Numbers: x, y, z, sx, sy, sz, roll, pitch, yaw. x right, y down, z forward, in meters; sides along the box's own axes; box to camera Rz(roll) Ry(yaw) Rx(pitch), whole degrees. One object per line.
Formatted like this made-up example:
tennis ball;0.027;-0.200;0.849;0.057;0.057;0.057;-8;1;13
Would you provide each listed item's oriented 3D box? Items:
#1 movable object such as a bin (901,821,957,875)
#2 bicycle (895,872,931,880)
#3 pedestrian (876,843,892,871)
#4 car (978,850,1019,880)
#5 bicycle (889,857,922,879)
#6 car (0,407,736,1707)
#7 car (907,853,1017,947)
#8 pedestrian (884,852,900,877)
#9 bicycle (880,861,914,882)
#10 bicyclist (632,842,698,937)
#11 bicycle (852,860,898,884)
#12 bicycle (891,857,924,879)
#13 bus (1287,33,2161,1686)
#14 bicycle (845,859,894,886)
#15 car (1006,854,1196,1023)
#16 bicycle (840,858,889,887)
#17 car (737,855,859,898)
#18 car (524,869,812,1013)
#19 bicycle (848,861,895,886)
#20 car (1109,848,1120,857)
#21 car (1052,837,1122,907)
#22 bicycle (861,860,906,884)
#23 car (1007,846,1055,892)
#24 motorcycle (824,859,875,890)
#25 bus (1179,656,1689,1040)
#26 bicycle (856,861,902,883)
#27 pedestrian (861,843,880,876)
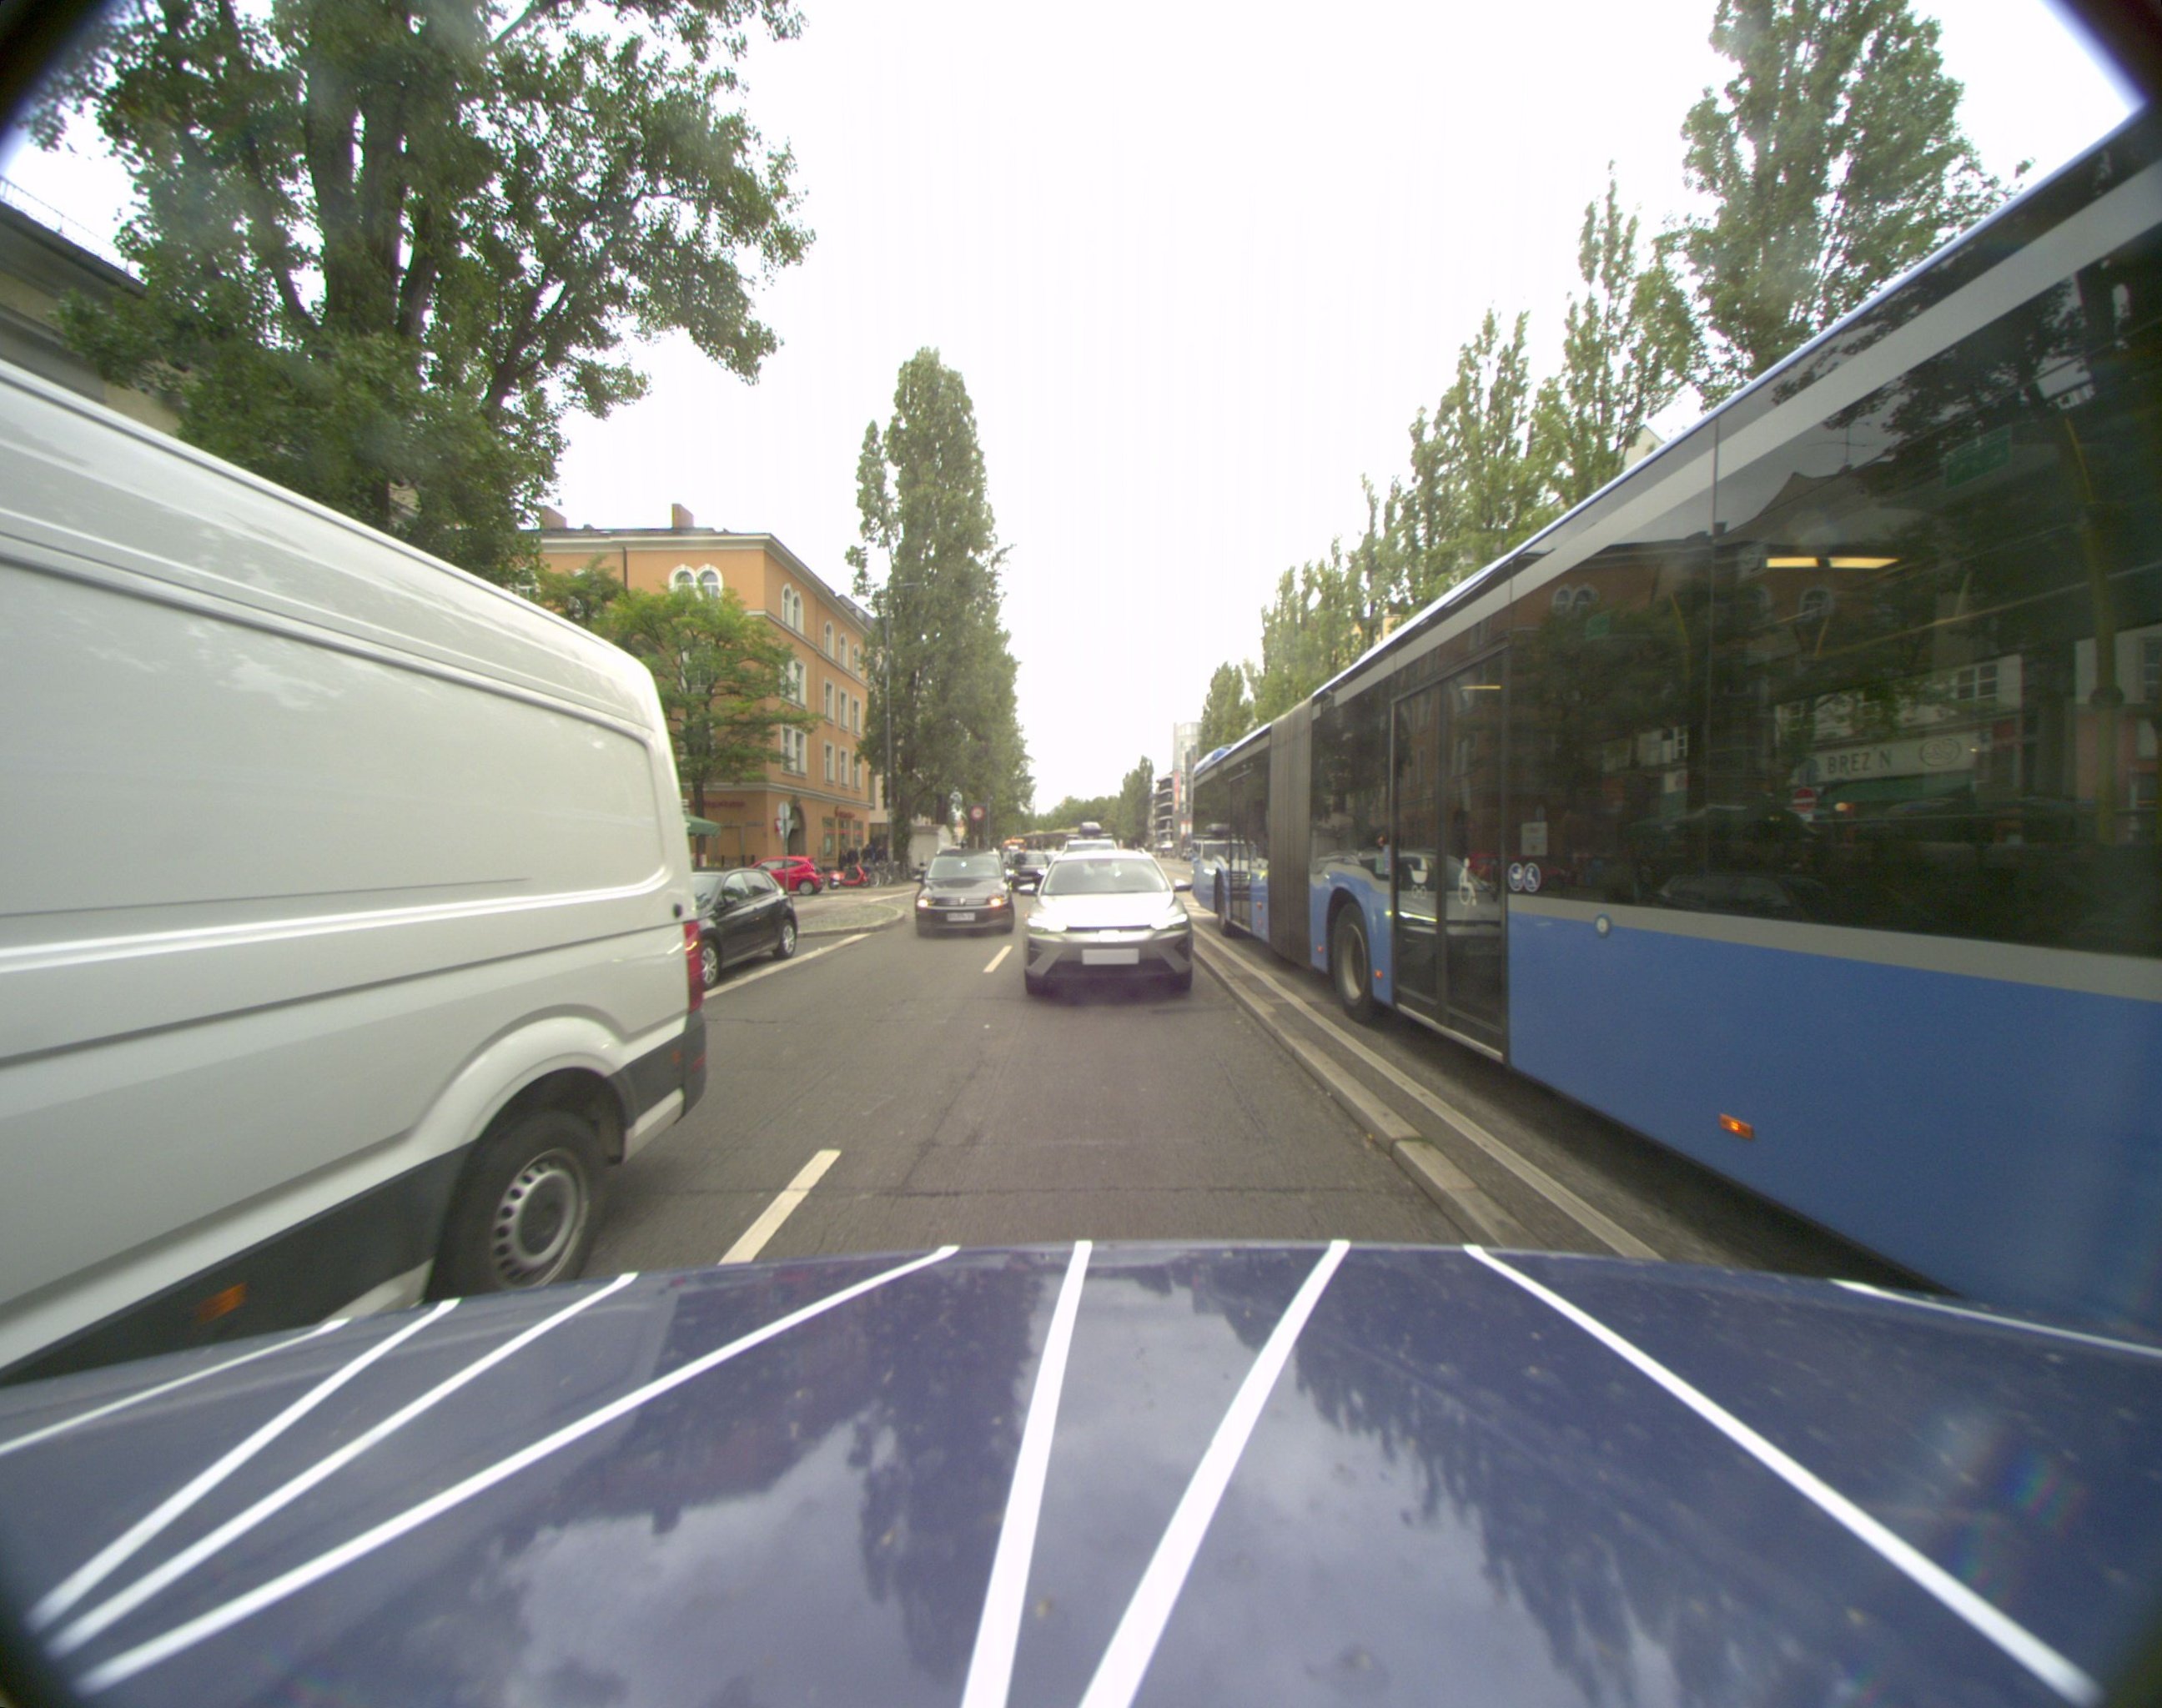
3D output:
movable object such as a bin;-9.290;-0.360;46.974;2.445;3.119;4.543;1;1;1
bicycle;-8.411;1.110;38.169;1.677;0.371;0.830;1;0;-7
pedestrian;-11.934;0.170;46.017;0.746;1.651;0.771;-2;2;-2
car;-4.674;0.573;43.462;1.789;1.544;4.498;-2;1;0
bicycle;-9.047;0.709;39.243;1.610;1.078;0.321;-1;1;-21
car;-2.855;0.514;0.422;2.068;2.478;6.730;-1;1;1
car;-2.304;0.798;15.505;1.883;1.582;4.190;-2;1;-6
pedestrian;-11.913;0.645;47.932;0.745;1.562;0.614;-2;2;4
bicycle;-9.046;0.866;37.428;1.602;1.004;0.342;-1;1;-6
bicyclist;-7.530;0.626;13.792;0.741;1.677;0.748;-1;1;0
bicycle;-9.374;0.824;34.586;1.945;1.069;0.561;-1;1;2
bicycle;-8.891;0.710;38.913;1.604;1.078;0.341;-1;1;-21
bus;3.274;-0.001;2.234;2.696;2.932;10.051;0;1;1
bicycle;-9.223;0.804;33.191;1.945;1.130;0.561;-1;1;2
car;0.199;0.800;9.222;1.742;1.510;4.033;-2;1;0
bicycle;-9.263;0.792;32.548;1.945;1.232;0.561;-1;1;2
car;-10.425;0.798;28.216;4.004;1.425;1.615;-2;1;-12
car;-5.125;0.969;10.124;1.698;1.408;3.950;-1;1;-1
bicycle;-9.315;0.850;33.843;1.945;1.082;0.561;-1;1;2
car;5.890;-0.289;134.304;1.718;1.532;4.076;1;1;1
car;0.174;0.445;23.203;1.839;1.832;5.128;-2;1;0
bicycle;-9.349;0.838;35.940;1.945;1.078;0.561;-1;1;2
car;-1.969;0.547;30.940;1.706;1.683;4.002;-3;1;-1
motorcycle;-9.612;0.830;31.587;1.963;1.214;0.514;-1;1;-25
bus;3.355;-0.086;10.865;2.690;2.932;10.051;0;1;1
bicycle;-9.360;0.831;35.191;1.945;1.004;0.561;-1;1;2
pedestrian;-12.688;0.293;45.728;0.840;1.938;0.802;-2;2;-1
